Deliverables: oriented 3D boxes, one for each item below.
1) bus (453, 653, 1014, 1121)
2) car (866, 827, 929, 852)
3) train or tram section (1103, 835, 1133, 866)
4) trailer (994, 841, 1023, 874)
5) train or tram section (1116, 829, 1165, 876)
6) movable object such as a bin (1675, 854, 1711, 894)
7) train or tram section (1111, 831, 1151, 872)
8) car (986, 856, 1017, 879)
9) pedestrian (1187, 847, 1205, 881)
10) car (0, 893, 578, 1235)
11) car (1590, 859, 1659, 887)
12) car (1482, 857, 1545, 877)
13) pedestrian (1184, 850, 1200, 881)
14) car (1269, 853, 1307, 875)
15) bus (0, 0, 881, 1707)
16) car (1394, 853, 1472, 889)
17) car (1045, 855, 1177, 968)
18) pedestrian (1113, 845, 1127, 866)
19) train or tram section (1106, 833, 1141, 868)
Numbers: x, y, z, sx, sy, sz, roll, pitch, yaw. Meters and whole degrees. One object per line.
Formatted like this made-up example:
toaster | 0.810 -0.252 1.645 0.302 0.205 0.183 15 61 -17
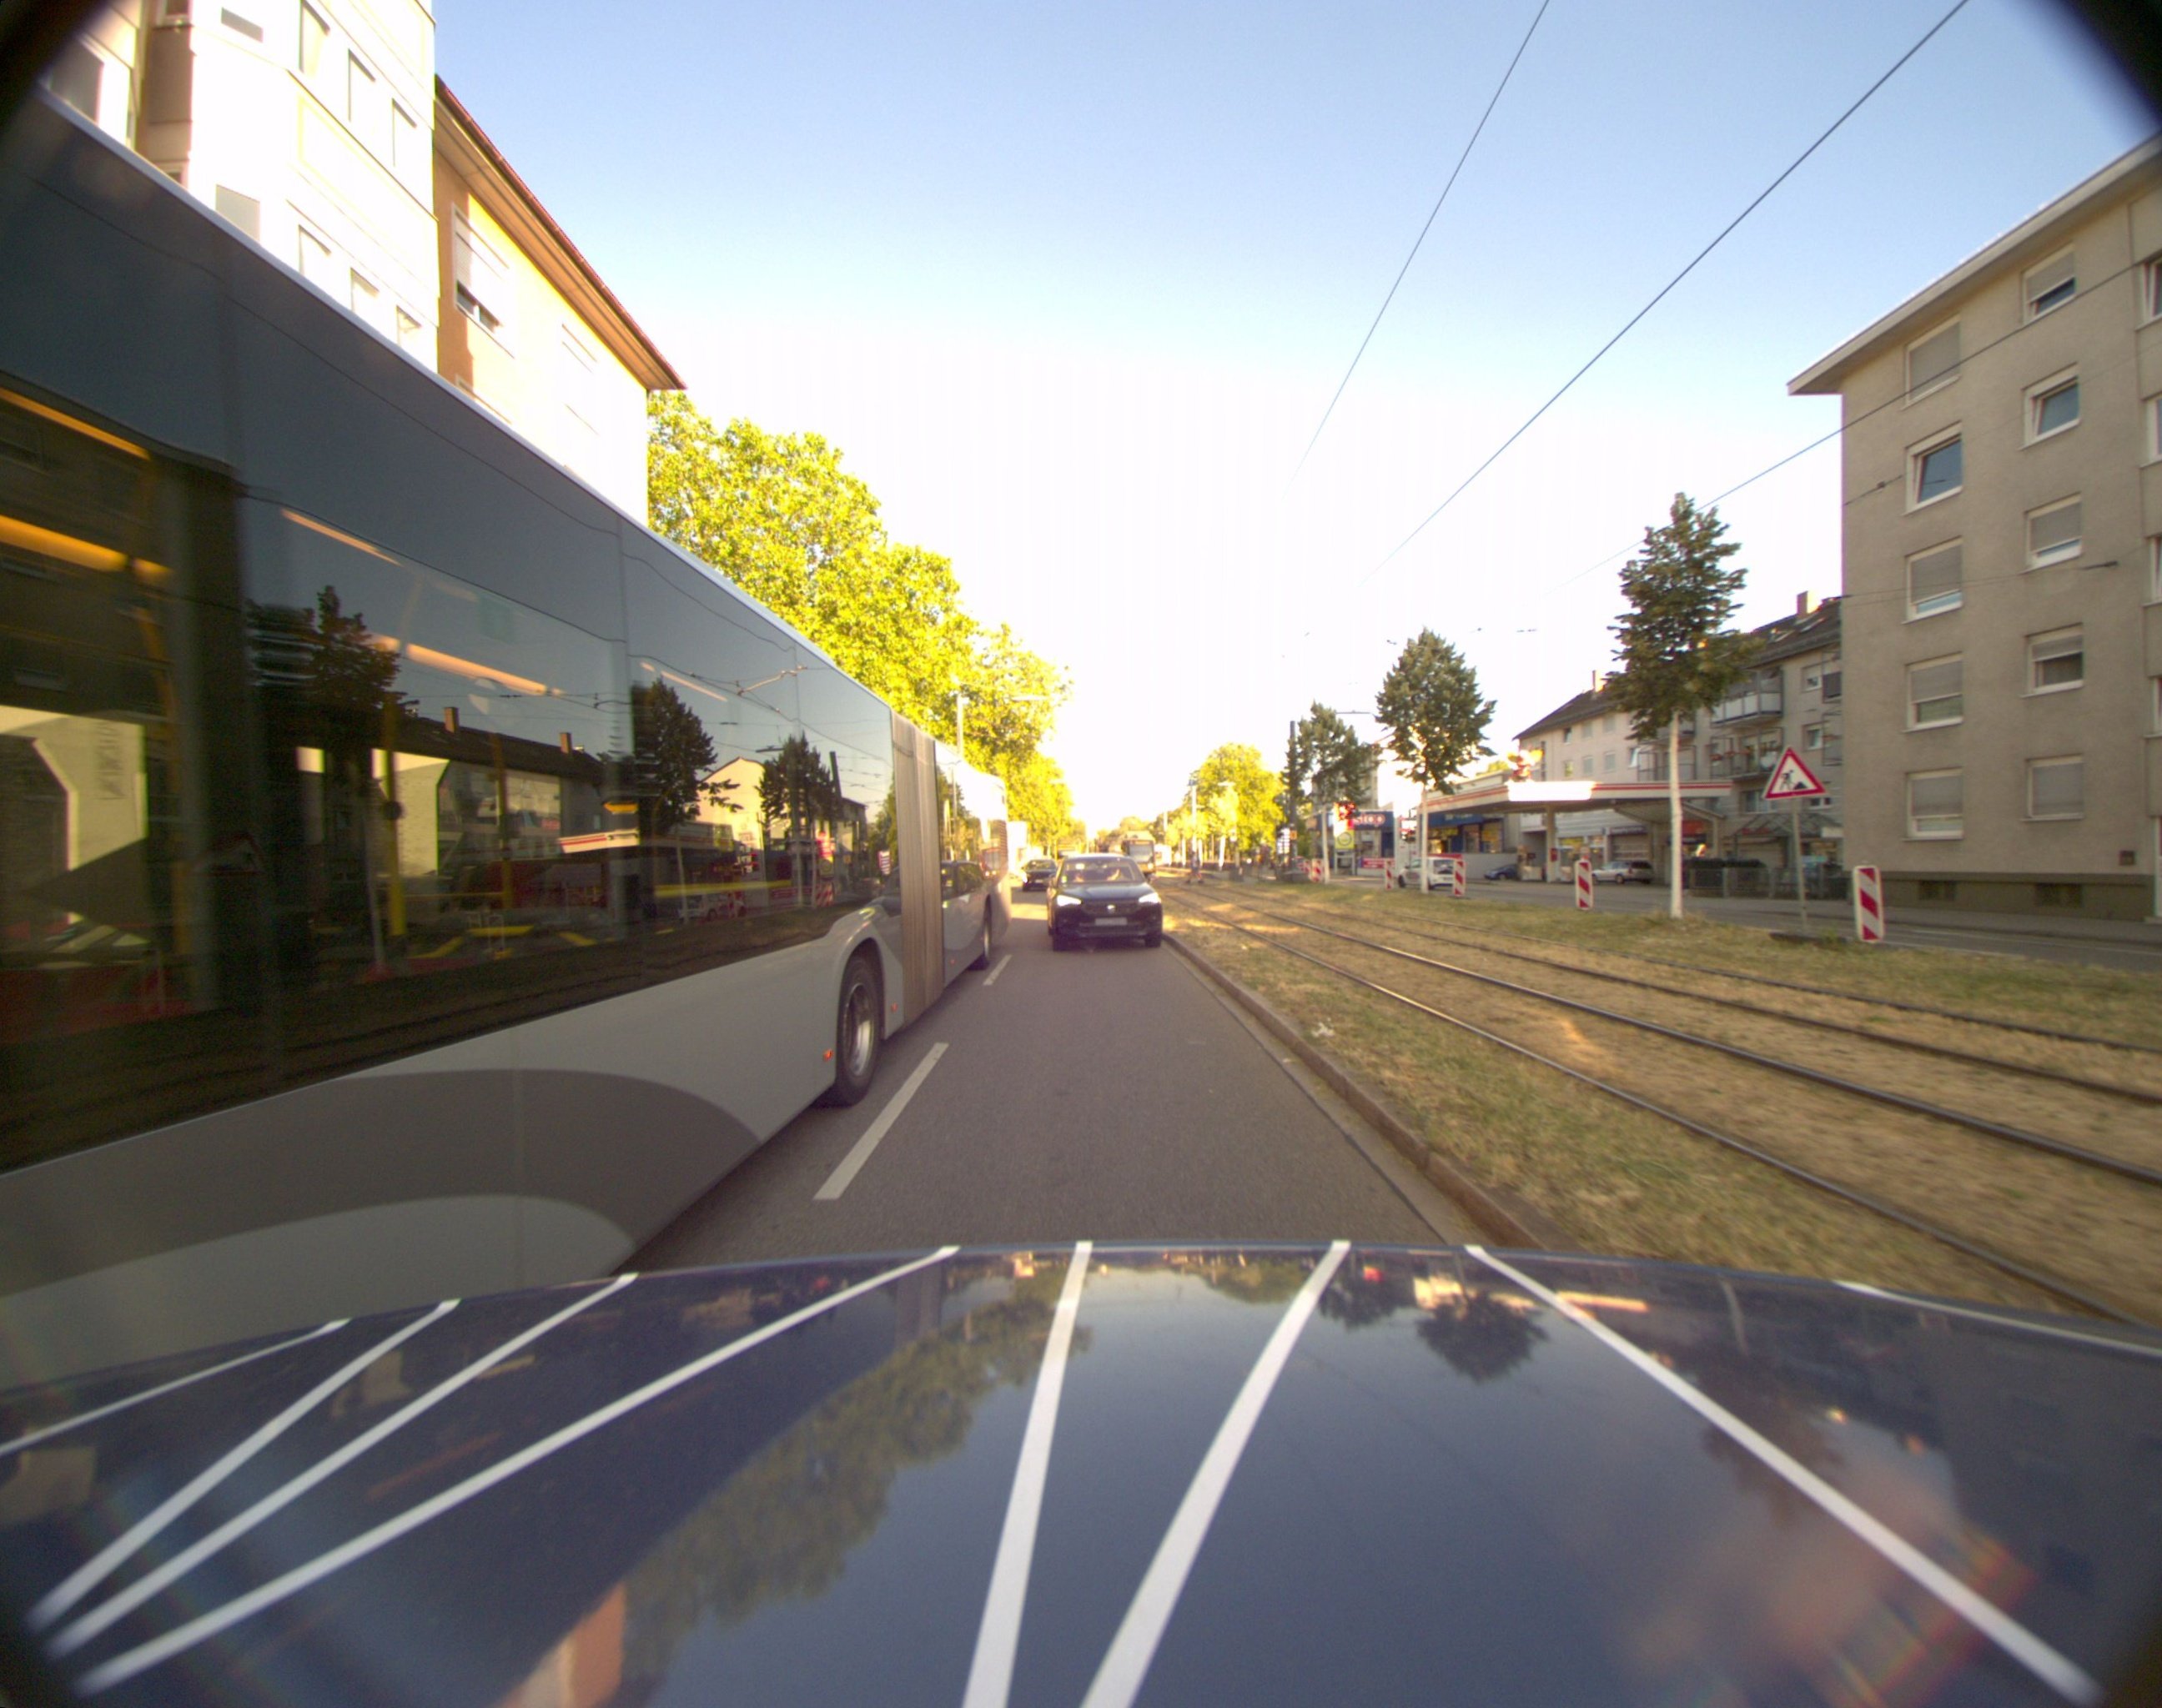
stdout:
bus | -2.719 0.229 9.522 2.745 3.038 8.853 -2 0 1
car | -13.493 -1.059 55.932 4.122 1.541 1.803 -3 0 2
train or tram section | 4.363 -0.481 91.388 3.043 3.497 10.095 0 1 -1
trailer | -5.919 0.282 62.502 1.890 2.573 4.651 -1 0 1
train or tram section | 4.643 -0.147 61.107 3.043 3.497 10.095 0 1 -1
movable object such as a bin | 21.376 0.682 26.550 0.665 1.392 0.749 0 0 -1
train or tram section | 4.547 -0.263 71.197 3.043 3.497 10.095 0 1 -1
car | -5.835 0.941 55.877 1.800 1.621 4.000 0 0 1
pedestrian | 6.497 0.553 42.892 0.860 1.921 0.755 -1 1 -2
car | -6.330 1.184 5.995 1.843 1.528 4.230 0 0 1
car | 33.717 1.162 47.284 1.815 1.514 3.830 -2 1 6
car | 33.203 1.007 58.466 3.803 1.514 1.818 -1 0 4
pedestrian | 6.374 0.668 43.825 0.755 1.737 0.860 -1 1 -3
car | 16.162 0.733 59.470 1.816 1.551 4.934 0 1 2
bus | -2.850 0.234 0.564 2.745 3.038 9.131 -2 0 1
car | 15.981 0.726 34.691 1.816 1.503 3.829 0 0 1
car | 0.354 0.870 13.484 1.911 1.606 4.084 -3 0 -3
pedestrian | 2.978 0.091 57.706 0.918 1.541 0.789 -2 1 -8
train or tram section | 4.469 -0.374 81.280 3.043 3.497 10.095 0 1 -1
